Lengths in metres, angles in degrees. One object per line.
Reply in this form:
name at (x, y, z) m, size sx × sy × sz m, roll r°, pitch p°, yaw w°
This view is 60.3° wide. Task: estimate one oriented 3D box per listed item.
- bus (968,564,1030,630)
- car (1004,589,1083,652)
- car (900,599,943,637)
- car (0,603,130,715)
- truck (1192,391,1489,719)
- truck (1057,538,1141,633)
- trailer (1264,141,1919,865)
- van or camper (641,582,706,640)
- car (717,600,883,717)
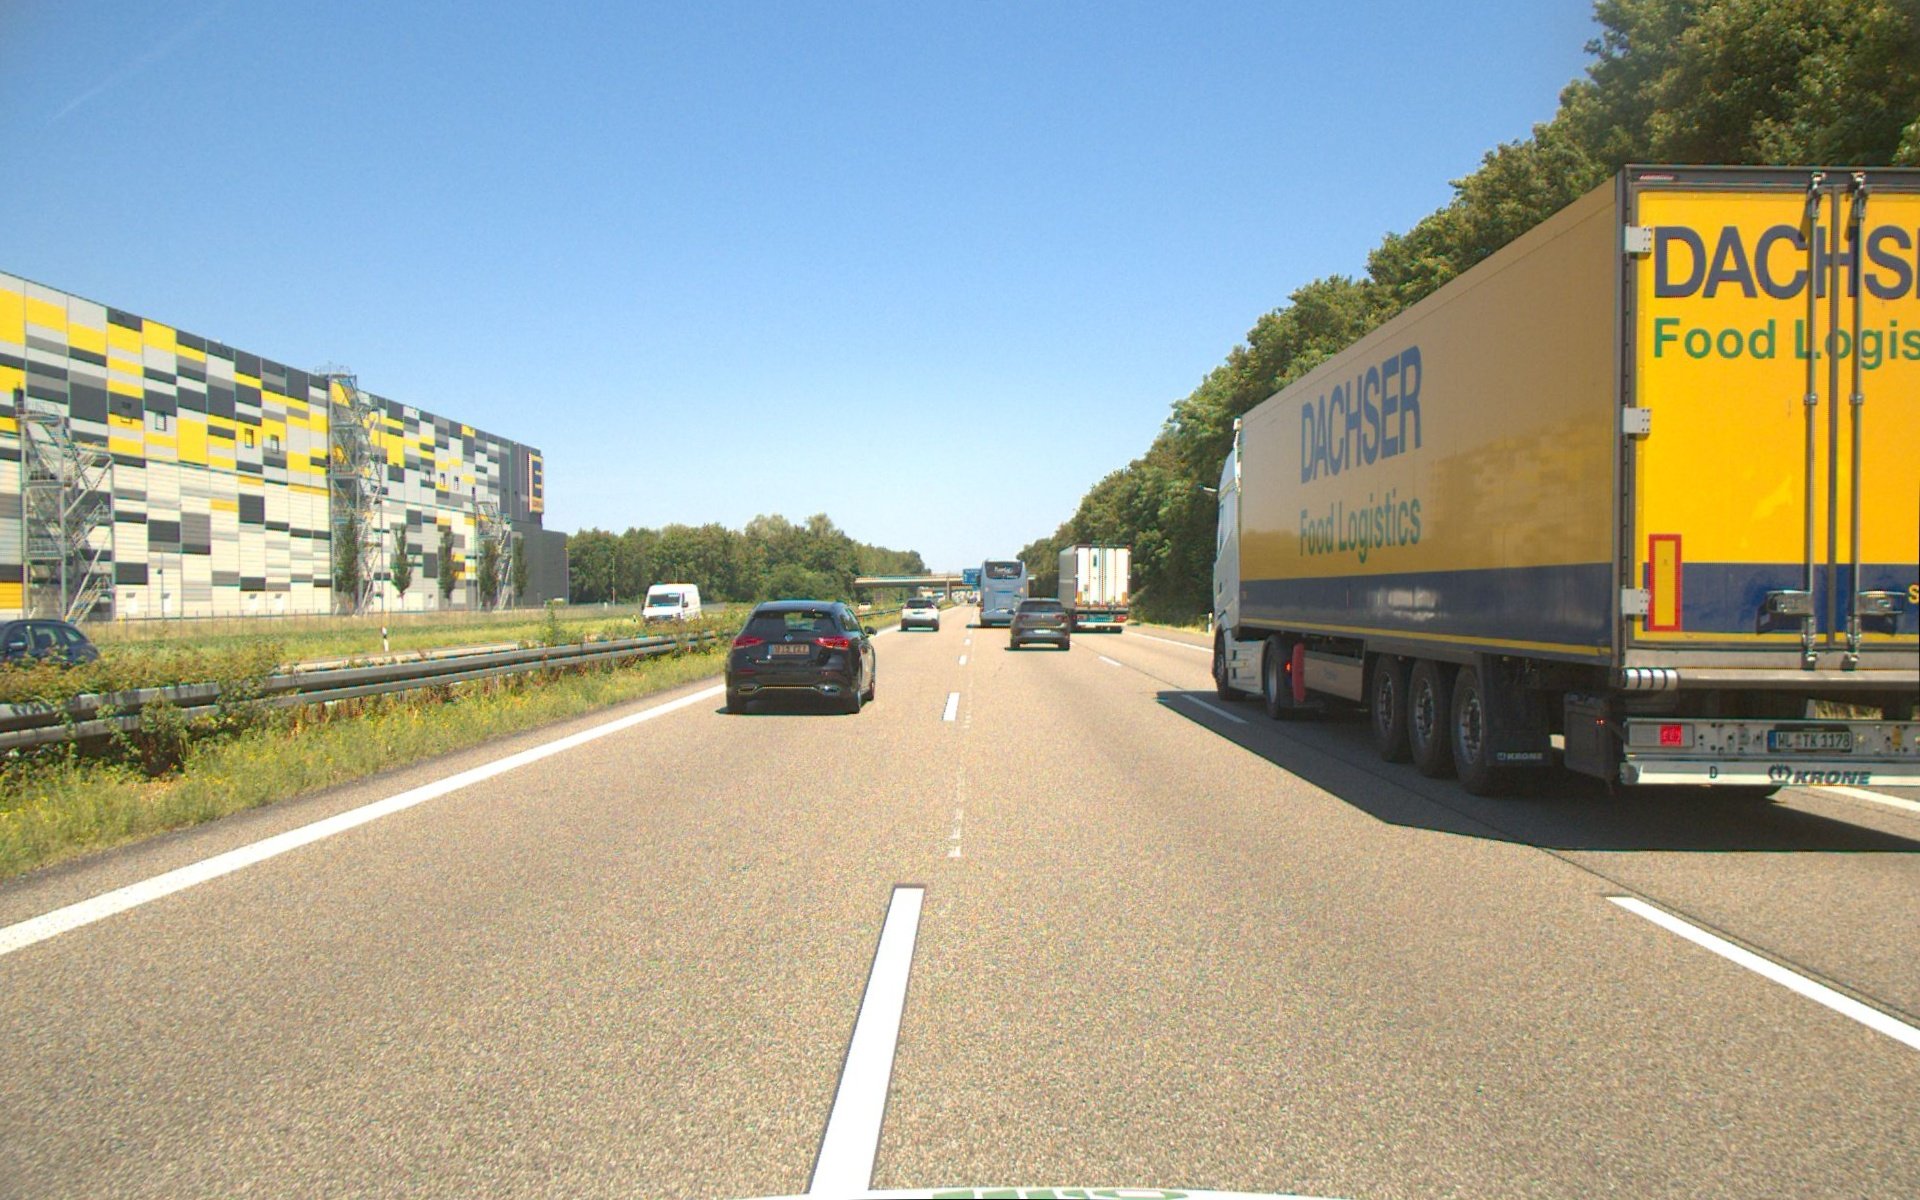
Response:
bus at (2.045, -0.166, 90.517) m, size 3.000 × 3.385 × 8.273 m, roll -1°, pitch 0°, yaw -1°
car at (2.526, 0.587, 51.296) m, size 2.170 × 1.821 × 5.393 m, roll -1°, pitch 0°, yaw 0°
car at (-1.803, 0.814, 78.379) m, size 1.953 × 1.758 × 4.130 m, roll 0°, pitch 0°, yaw 0°
car at (-15.180, 0.932, 25.987) m, size 1.814 × 1.640 × 4.835 m, roll -3°, pitch 0°, yaw -1°
truck at (5.225, -0.575, 23.992) m, size 2.755 × 4.076 × 6.644 m, roll -1°, pitch 0°, yaw 0°
truck at (6.561, -0.677, 79.321) m, size 3.352 × 4.198 × 9.566 m, roll -1°, pitch 0°, yaw 1°
trailer at (5.204, -0.571, 15.050) m, size 2.776 × 4.023 × 11.684 m, roll 0°, pitch 0°, yaw 0°
van or camper at (-14.752, 0.551, 85.474) m, size 2.014 × 2.828 × 6.965 m, roll -1°, pitch 0°, yaw 0°
car at (-2.097, 0.728, 22.705) m, size 1.755 × 1.436 × 4.053 m, roll 1°, pitch 0°, yaw 1°
